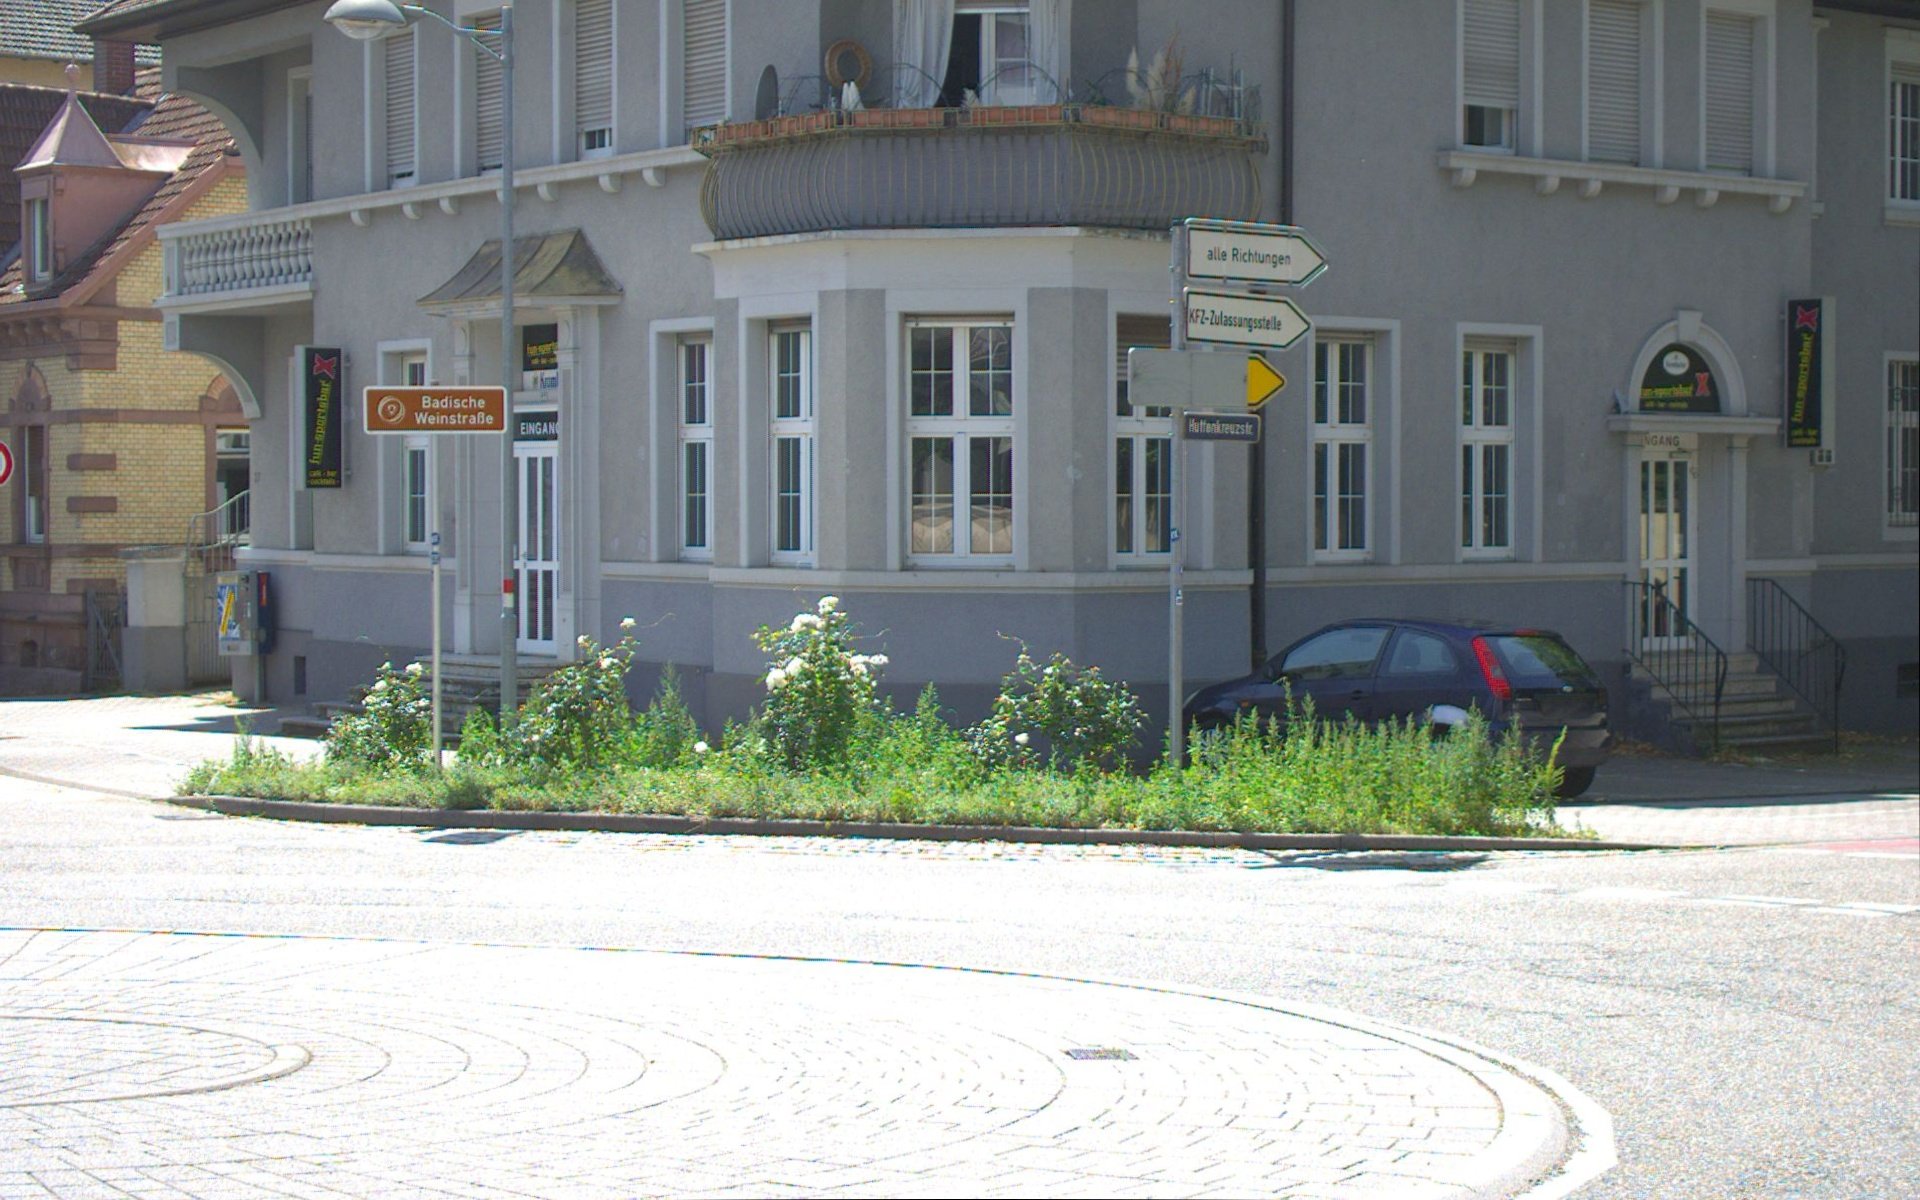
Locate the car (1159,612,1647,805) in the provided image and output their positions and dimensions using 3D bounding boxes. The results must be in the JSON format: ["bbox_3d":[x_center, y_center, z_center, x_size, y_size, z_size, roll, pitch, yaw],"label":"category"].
[{"bbox_3d":[3.611,0.845,28.460,1.719,1.455,3.791,1,0,-42],"label":"car"}]
